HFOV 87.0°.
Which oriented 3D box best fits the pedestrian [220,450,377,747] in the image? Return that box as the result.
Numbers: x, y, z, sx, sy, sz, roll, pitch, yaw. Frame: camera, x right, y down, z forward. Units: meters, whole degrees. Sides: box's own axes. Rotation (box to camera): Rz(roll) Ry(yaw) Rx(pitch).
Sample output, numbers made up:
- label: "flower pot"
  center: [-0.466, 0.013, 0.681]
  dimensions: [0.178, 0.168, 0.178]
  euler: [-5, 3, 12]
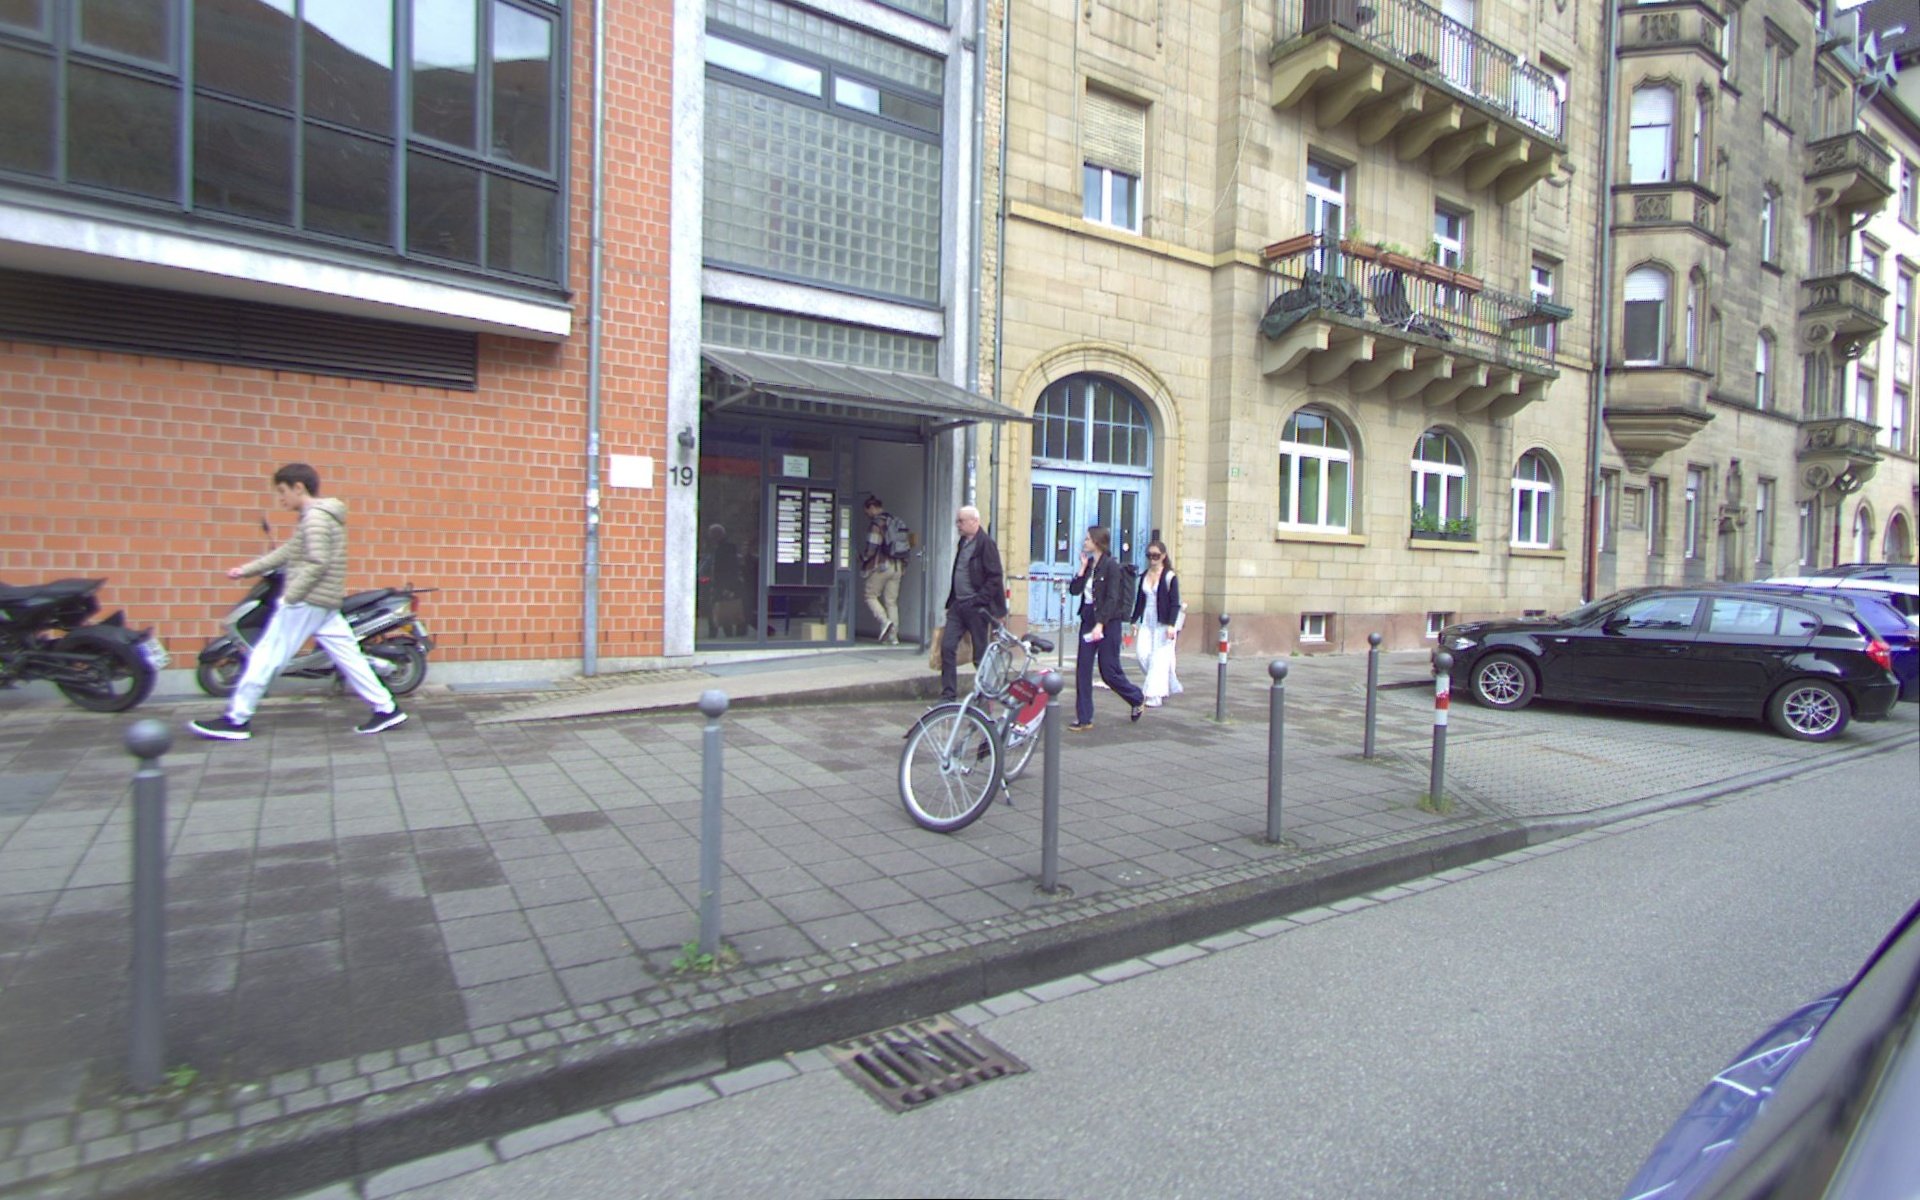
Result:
- label: "pedestrian"
  center: [-4.273, -0.030, 6.528]
  dimensions: [0.796, 1.774, 0.632]
  euler: [0, 4, -37]

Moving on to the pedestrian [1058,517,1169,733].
- label: "pedestrian"
  center: [1.259, 0.175, 8.309]
  dimensions: [0.703, 1.682, 0.520]
  euler: [-1, 4, -37]

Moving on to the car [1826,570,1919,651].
- label: "car"
  center: [21.337, 0.328, 21.175]
  dimensions: [4.408, 1.593, 1.737]
  euler: [5, 3, 18]

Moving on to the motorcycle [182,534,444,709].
- label: "motorcycle"
  center: [-4.882, 0.157, 7.721]
  dimensions: [1.534, 1.208, 0.604]
  euler: [3, 2, -10]

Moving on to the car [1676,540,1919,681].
- label: "car"
  center: [14.202, 0.178, 15.953]
  dimensions: [4.224, 1.929, 1.871]
  euler: [5, 3, 16]

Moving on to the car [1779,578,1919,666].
- label: "car"
  center: [18.963, 0.459, 19.566]
  dimensions: [4.407, 1.571, 1.842]
  euler: [3, 3, 19]

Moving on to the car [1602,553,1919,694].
- label: "car"
  center: [11.690, 0.287, 14.313]
  dimensions: [3.947, 1.620, 1.757]
  euler: [5, 3, 17]

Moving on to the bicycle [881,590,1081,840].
- label: "bicycle"
  center: [0.190, 0.545, 5.801]
  dimensions: [0.719, 1.117, 1.729]
  euler: [3, 3, 15]

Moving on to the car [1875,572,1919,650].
- label: "car"
  center: [24.110, 0.369, 22.788]
  dimensions: [4.696, 1.705, 1.924]
  euler: [4, 4, 21]

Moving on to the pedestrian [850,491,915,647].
- label: "pedestrian"
  center: [-0.909, -0.365, 11.859]
  dimensions: [0.557, 1.765, 0.541]
  euler: [-1, 2, -34]

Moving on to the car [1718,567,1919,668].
- label: "car"
  center: [16.385, 0.336, 18.038]
  dimensions: [4.019, 1.470, 2.021]
  euler: [5, 5, 18]

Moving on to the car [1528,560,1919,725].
- label: "car"
  center: [9.529, 0.427, 12.737]
  dimensions: [3.965, 1.552, 1.914]
  euler: [6, 3, 28]

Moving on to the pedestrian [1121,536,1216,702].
- label: "pedestrian"
  center: [2.002, 0.155, 9.729]
  dimensions: [0.703, 1.528, 0.520]
  euler: [-1, 4, -37]

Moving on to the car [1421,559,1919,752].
- label: "car"
  center: [7.365, 0.458, 10.933]
  dimensions: [4.217, 1.496, 1.671]
  euler: [5, 3, 24]

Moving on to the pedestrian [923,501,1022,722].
- label: "pedestrian"
  center: [0.095, 0.069, 8.615]
  dimensions: [0.531, 1.792, 0.645]
  euler: [-1, 4, -35]

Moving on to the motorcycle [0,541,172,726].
- label: "motorcycle"
  center: [-6.374, 0.192, 6.641]
  dimensions: [1.843, 1.157, 0.604]
  euler: [1, 2, -8]
